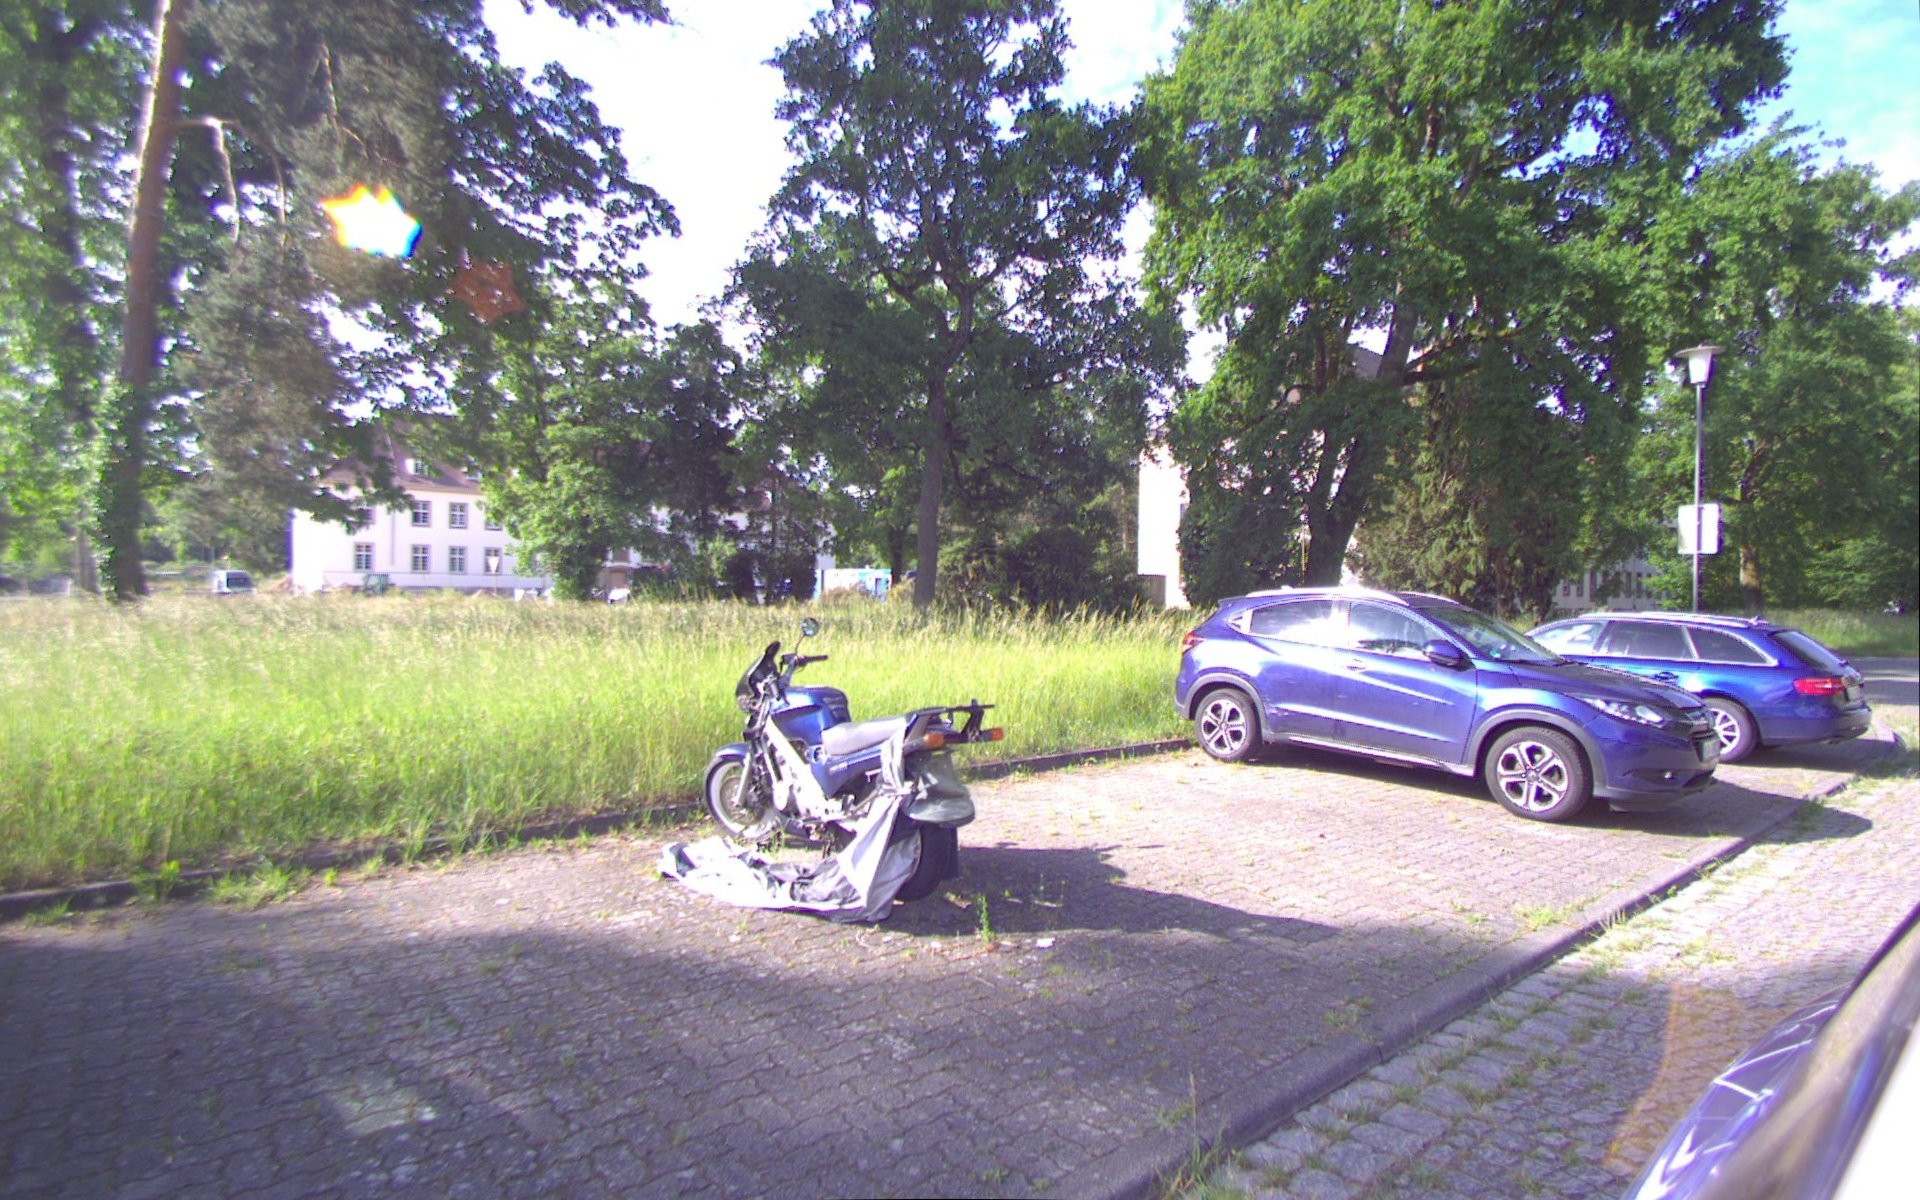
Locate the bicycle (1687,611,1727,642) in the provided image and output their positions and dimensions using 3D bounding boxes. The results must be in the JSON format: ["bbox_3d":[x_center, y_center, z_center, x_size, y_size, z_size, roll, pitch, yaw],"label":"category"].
[{"bbox_3d":[25.209,0.882,34.153,1.231,1.029,0.711,1,0,-33],"label":"bicycle"}]

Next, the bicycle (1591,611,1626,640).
[{"bbox_3d":[23.711,0.914,37.011,1.007,1.029,0.711,1,0,-33],"label":"bicycle"}]

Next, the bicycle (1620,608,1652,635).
[{"bbox_3d":[26.607,0.845,39.864,0.700,1.029,1.023,1,0,12],"label":"bicycle"}]

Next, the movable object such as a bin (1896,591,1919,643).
[{"bbox_3d":[34.822,0.637,33.714,1.959,1.781,4.949,1,1,-25],"label":"movable object such as a bin"}]

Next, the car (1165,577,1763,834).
[{"bbox_3d":[3.942,0.630,8.540,1.720,1.611,4.185,1,1,-40],"label":"car"}]

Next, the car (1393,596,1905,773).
[{"bbox_3d":[7.477,0.764,11.460,1.682,1.425,4.463,1,2,-37],"label":"car"}]

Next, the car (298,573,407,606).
[{"bbox_3d":[-40.691,-0.725,67.945,5.888,2.199,2.381,-1,1,-18],"label":"car"}]

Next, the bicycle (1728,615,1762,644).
[{"bbox_3d":[26.119,0.971,33.670,1.121,0.946,0.746,1,0,-43],"label":"bicycle"}]

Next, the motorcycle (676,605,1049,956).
[{"bbox_3d":[-0.625,0.735,5.207,0.713,1.336,2.305,1,1,-40],"label":"motorcycle"}]

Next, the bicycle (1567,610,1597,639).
[{"bbox_3d":[22.948,0.905,37.362,1.008,1.029,0.619,1,0,-37],"label":"bicycle"}]

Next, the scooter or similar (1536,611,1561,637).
[{"bbox_3d":[21.867,0.877,37.615,0.767,0.941,0.257,1,0,45],"label":"scooter or similar"}]
